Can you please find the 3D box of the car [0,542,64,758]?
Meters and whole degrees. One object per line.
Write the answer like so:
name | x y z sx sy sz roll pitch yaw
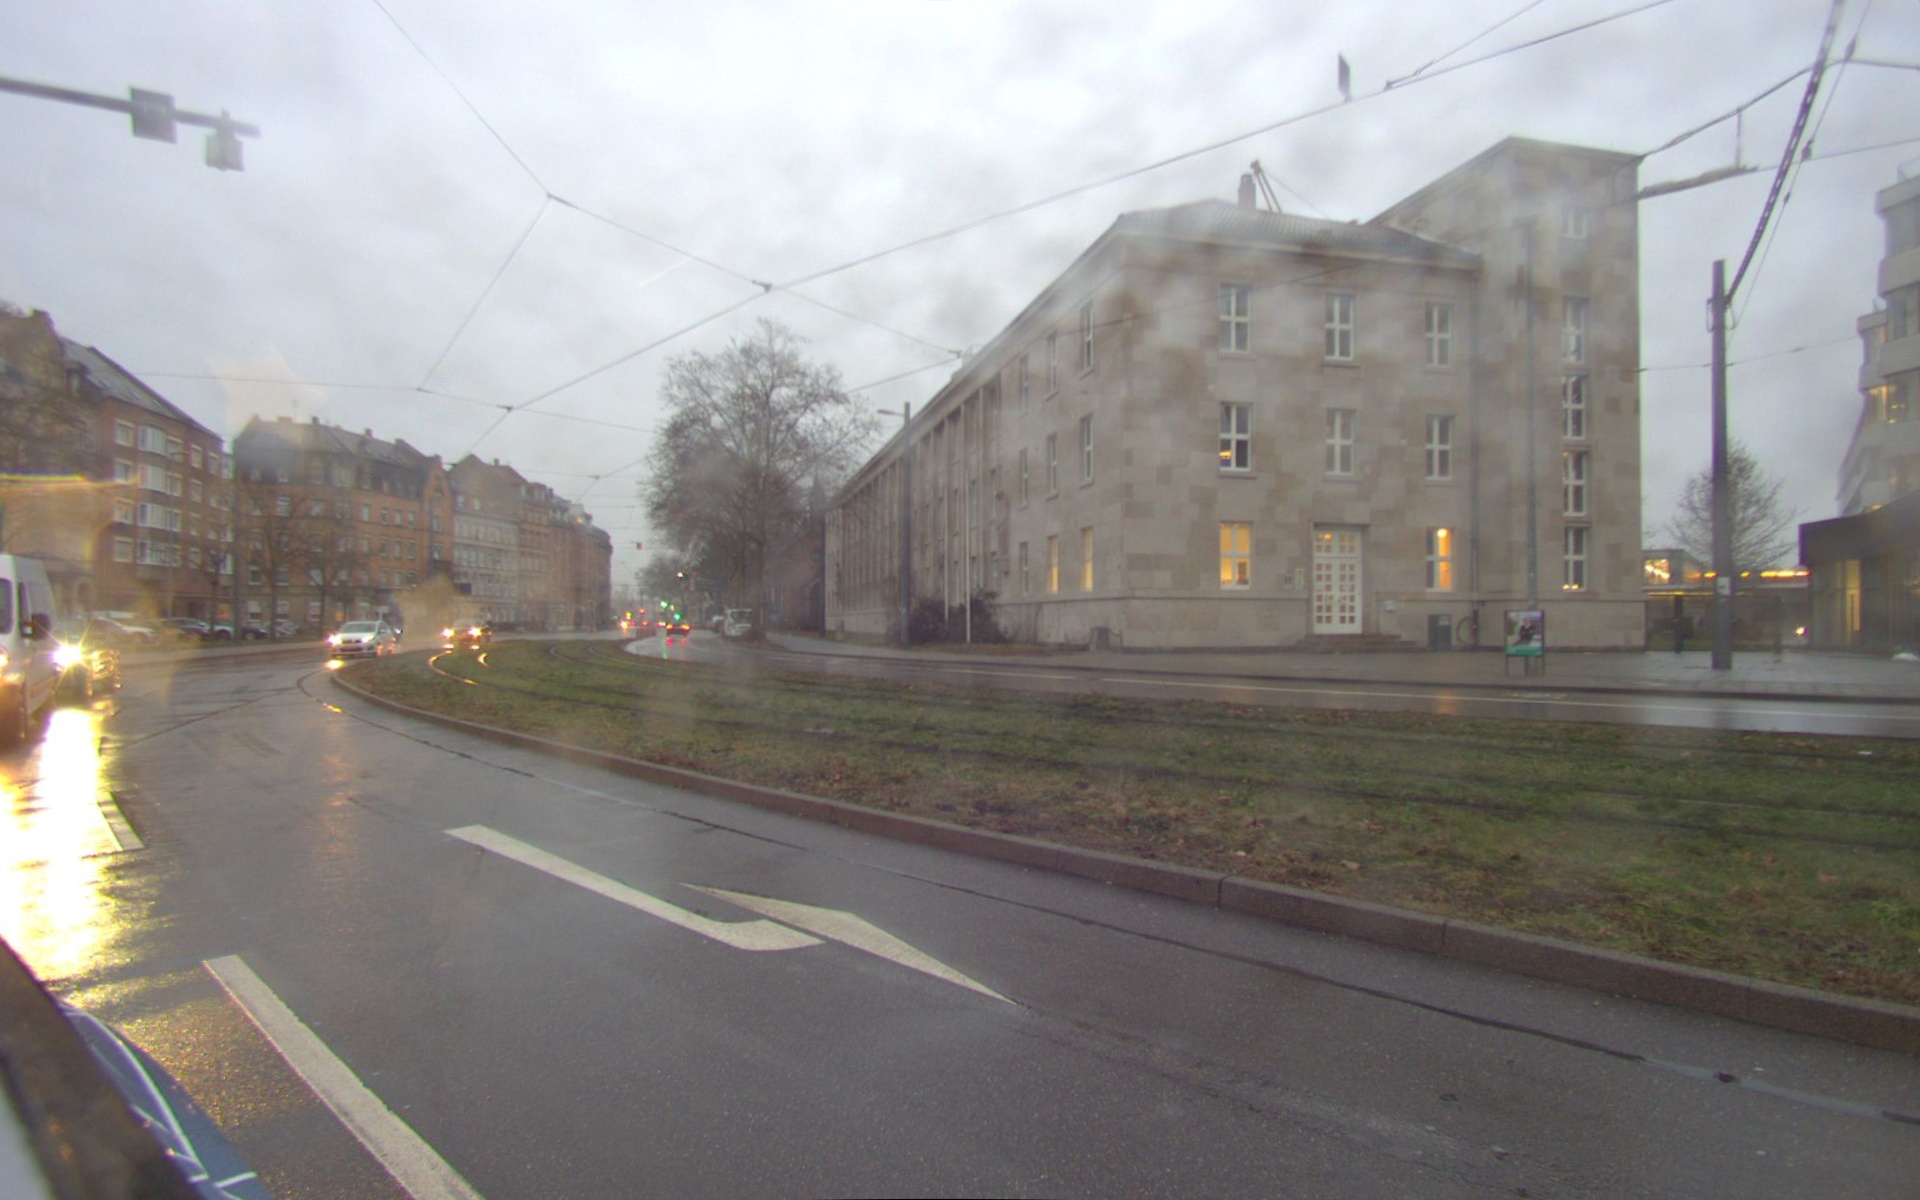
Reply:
car | -13.505 0.627 13.324 2.207 2.481 5.681 0 -1 -38

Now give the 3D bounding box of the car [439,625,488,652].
car | -29.234 2.267 59.684 1.810 1.545 3.826 0 -2 -14

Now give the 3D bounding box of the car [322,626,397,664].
car | -24.126 1.780 40.770 1.662 1.441 3.355 0 -1 -13

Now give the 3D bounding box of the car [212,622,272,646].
car | -46.645 2.203 65.803 3.134 1.494 1.385 1 -2 -35

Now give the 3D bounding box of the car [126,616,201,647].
car | -43.107 1.677 54.874 3.135 1.636 1.449 1 -2 -37

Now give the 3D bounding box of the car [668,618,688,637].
car | -25.388 2.475 91.157 1.662 1.652 3.657 0 -2 -16

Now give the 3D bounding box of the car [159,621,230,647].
car | -43.724 1.920 57.868 3.134 1.424 1.385 1 -2 -35

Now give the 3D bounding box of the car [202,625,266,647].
car | -44.328 2.174 61.830 3.134 1.293 1.385 1 -2 -35

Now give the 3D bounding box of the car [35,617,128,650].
car | -40.685 1.541 46.966 3.135 1.440 1.431 1 -2 -37

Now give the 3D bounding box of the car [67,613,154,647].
car | -41.536 1.465 49.556 3.135 1.636 1.431 1 -2 -37

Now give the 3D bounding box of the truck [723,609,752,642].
truck | -14.436 1.629 65.577 1.808 2.060 4.010 0 -2 -13

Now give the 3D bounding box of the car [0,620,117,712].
car | -18.680 1.269 20.710 1.846 1.701 4.181 0 -1 -35
